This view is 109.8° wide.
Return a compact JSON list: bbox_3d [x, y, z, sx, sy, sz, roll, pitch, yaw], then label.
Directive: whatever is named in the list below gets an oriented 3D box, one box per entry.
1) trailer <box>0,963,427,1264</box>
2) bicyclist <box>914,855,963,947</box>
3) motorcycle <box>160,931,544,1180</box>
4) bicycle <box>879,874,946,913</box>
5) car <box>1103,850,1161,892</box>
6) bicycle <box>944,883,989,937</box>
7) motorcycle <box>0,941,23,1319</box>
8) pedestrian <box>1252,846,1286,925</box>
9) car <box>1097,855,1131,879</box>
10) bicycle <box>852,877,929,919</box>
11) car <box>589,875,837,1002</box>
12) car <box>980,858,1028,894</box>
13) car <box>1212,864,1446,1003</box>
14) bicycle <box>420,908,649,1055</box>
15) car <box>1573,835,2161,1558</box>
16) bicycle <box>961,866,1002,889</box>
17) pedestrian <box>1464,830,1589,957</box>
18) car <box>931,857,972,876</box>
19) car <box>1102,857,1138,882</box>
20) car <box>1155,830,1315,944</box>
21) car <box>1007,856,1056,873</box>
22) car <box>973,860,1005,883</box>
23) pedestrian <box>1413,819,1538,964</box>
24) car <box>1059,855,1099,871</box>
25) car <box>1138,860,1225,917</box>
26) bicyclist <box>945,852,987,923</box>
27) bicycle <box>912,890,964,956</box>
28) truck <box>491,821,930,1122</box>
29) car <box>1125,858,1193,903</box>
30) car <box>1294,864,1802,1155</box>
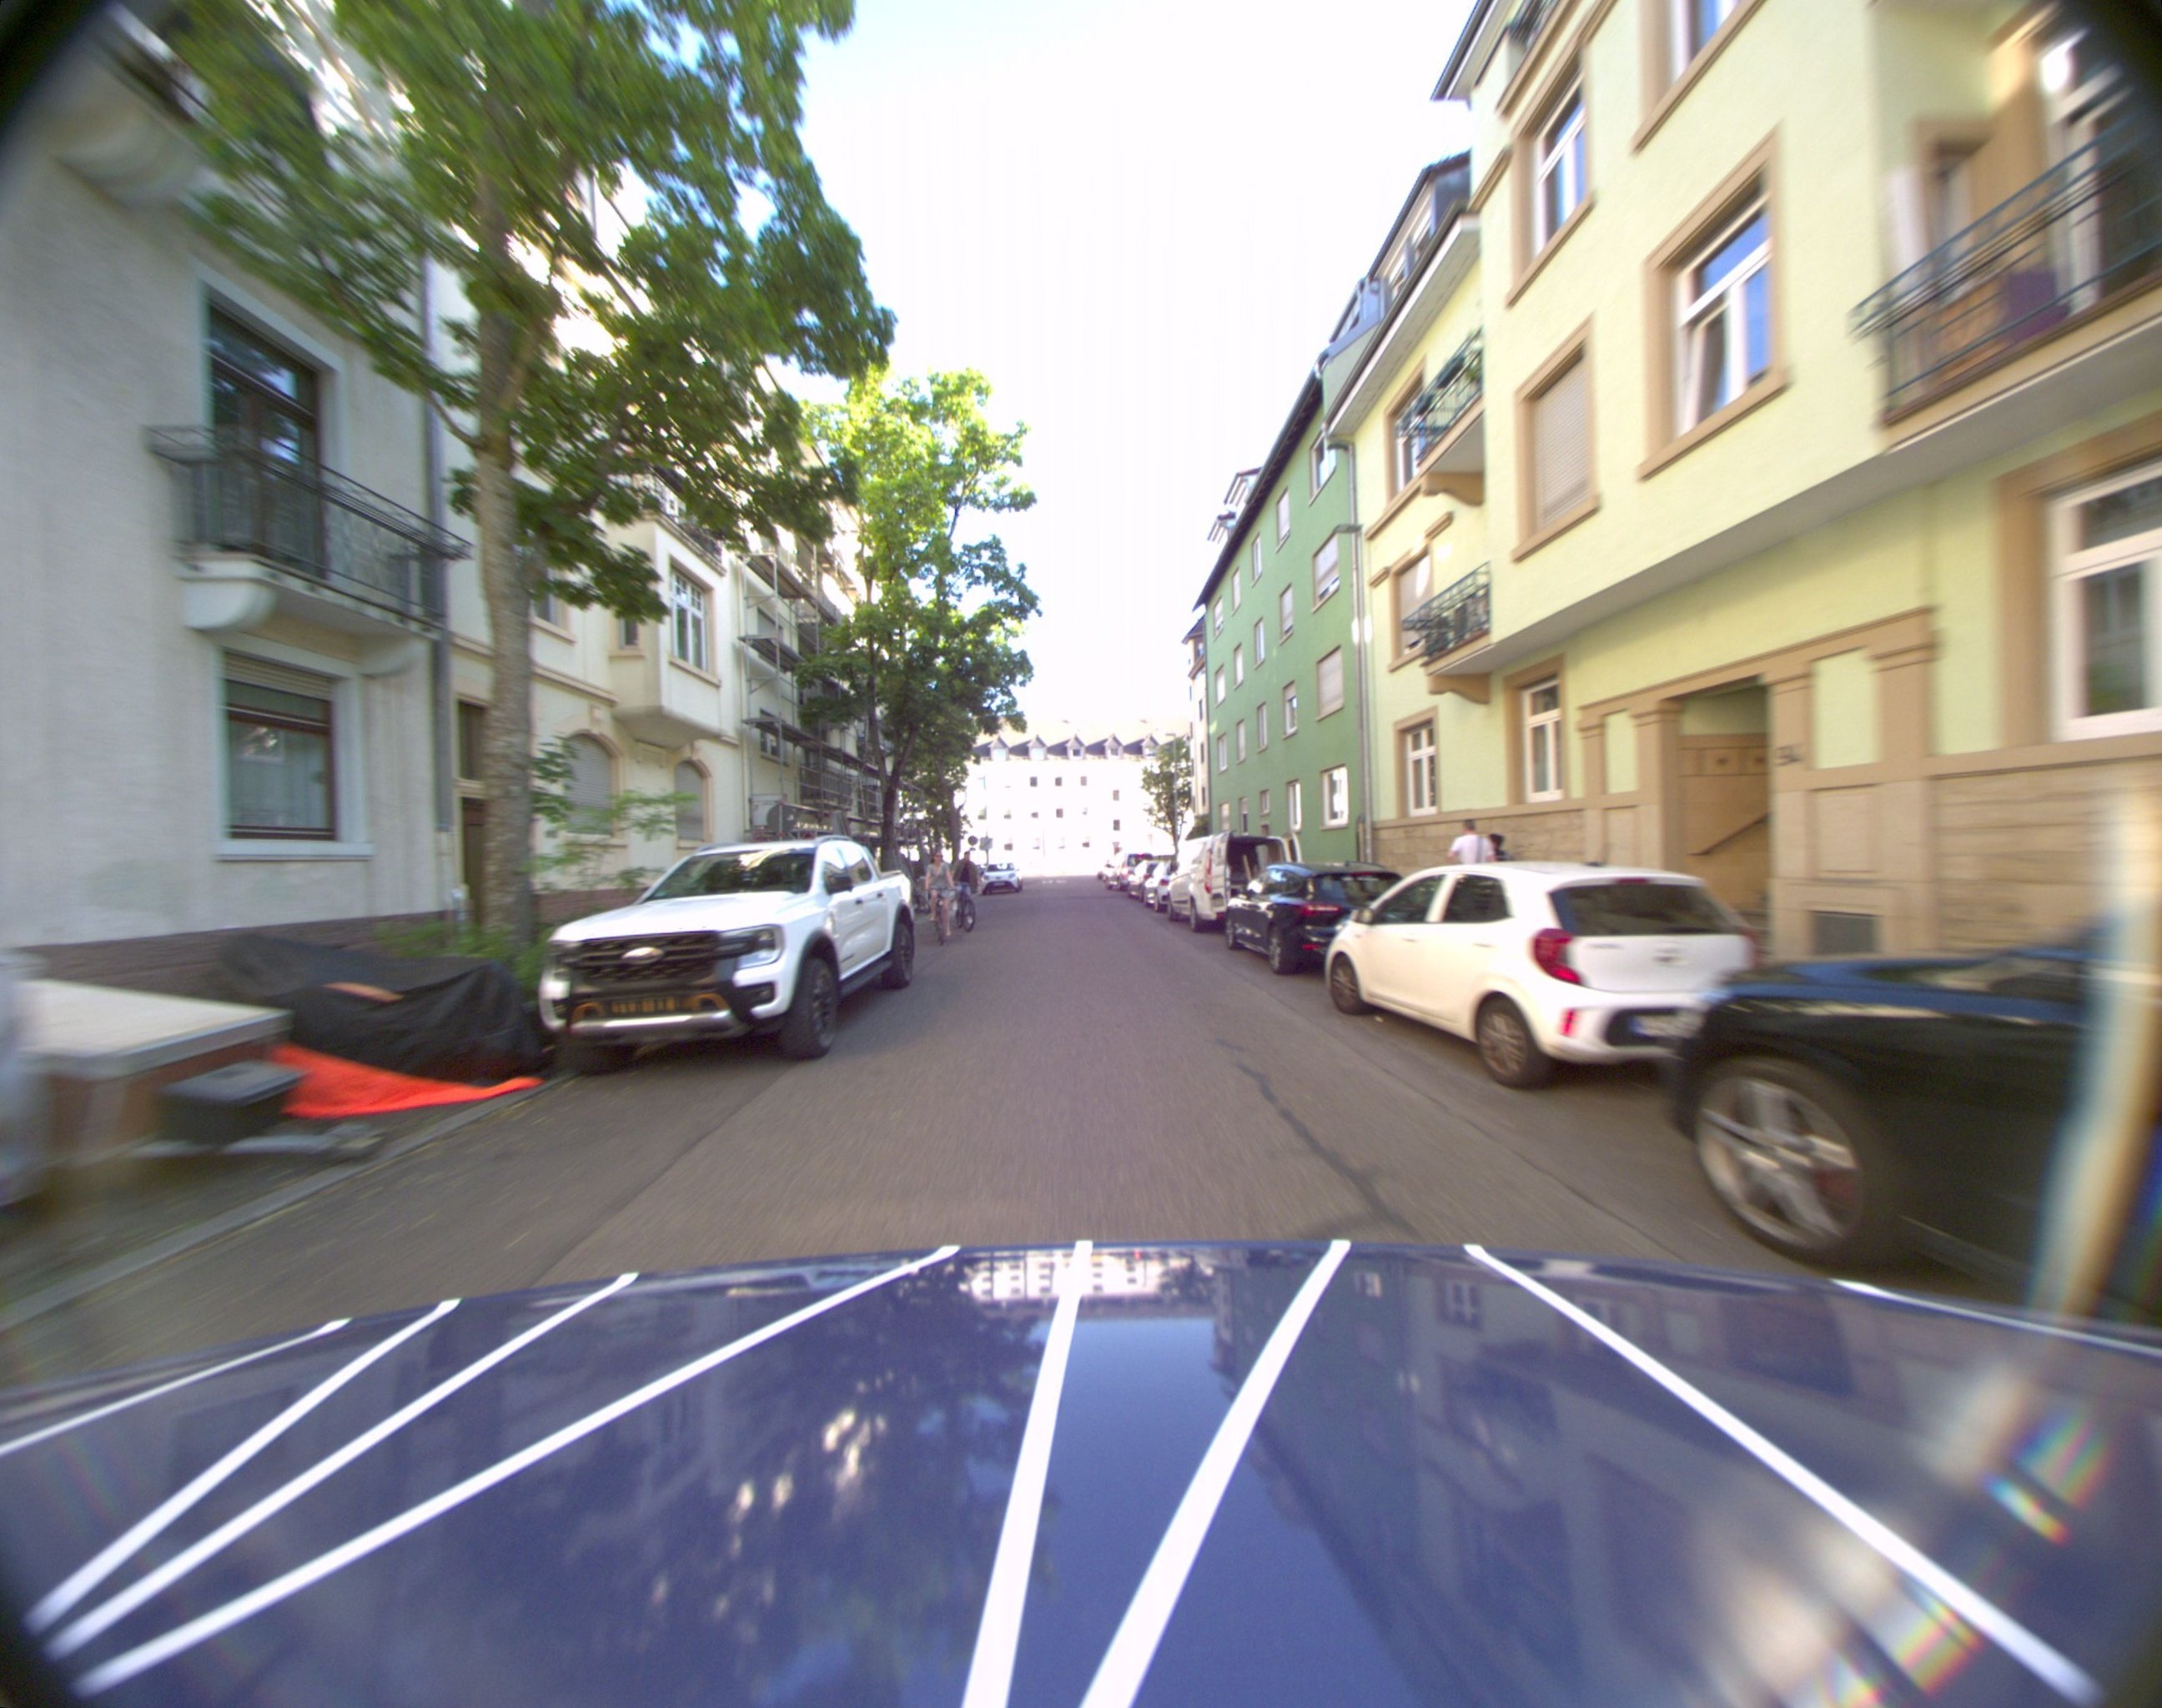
[{"bbox_3d":[-4.928,1.257,3.879,2.088,1.106,1.114,-2,0,-15],"label":"trailer"},{"bbox_3d":[-2.758,0.880,14.800,0.716,1.679,0.981,-4,1,-5],"label":"bicyclist"},{"bbox_3d":[-4.845,1.252,5.233,1.768,1.233,0.700,-2,1,-40],"label":"motorcycle"},{"bbox_3d":[-5.172,1.218,23.273,1.924,1.115,0.749,-2,0,28],"label":"bicycle"},{"bbox_3d":[2.325,0.753,35.650,1.777,1.832,4.412,0,1,-9],"label":"car"},{"bbox_3d":[-2.618,1.268,17.573,0.741,1.054,1.857,-3,1,-1],"label":"bicycle"},{"bbox_3d":[-4.732,1.106,1.963,0.932,1.477,2.138,-2,0,0],"label":"motorcycle"},{"bbox_3d":[4.377,0.725,17.728,0.487,1.777,0.845,-2,1,-1],"label":"pedestrian"},{"bbox_3d":[2.230,0.854,52.148,1.724,1.546,4.071,0,0,-7],"label":"car"},{"bbox_3d":[-5.461,1.254,21.816,1.980,1.115,0.748,-2,0,9],"label":"bicycle"},{"bbox_3d":[-5.191,1.088,11.465,1.684,1.414,4.429,0,0,-2],"label":"car"},{"bbox_3d":[-3.664,1.020,36.733,1.807,1.526,3.964,-3,0,0],"label":"car"},{"bbox_3d":[3.270,0.940,11.145,1.771,1.512,4.824,-1,0,-1],"label":"car"},{"bbox_3d":[-5.367,1.236,7.532,1.764,1.297,0.586,-2,1,-3],"label":"bicycle"},{"bbox_3d":[3.466,0.800,1.319,1.880,1.675,4.968,0,0,-2],"label":"car"},{"bbox_3d":[-5.186,1.208,39.572,1.974,1.148,0.750,2,0,-16],"label":"bicycle"},{"bbox_3d":[6.337,0.534,10.895,0.995,1.665,1.243,-3,1,-2],"label":"pedestrian"},{"bbox_3d":[-12.166,1.159,71.587,3.707,1.598,1.648,-3,0,-9],"label":"car"},{"bbox_3d":[2.346,0.906,46.797,1.771,1.444,4.206,1,0,-2],"label":"car"},{"bbox_3d":[3.221,0.632,17.193,2.258,2.156,5.241,1,0,-3],"label":"car"},{"bbox_3d":[-4.741,0.982,72.752,4.494,1.498,1.944,-2,0,-8],"label":"car"},{"bbox_3d":[-5.991,1.100,49.824,1.666,1.399,4.506,1,0,-2],"label":"car"},{"bbox_3d":[5.401,0.484,10.495,0.995,1.850,1.243,-3,1,-2],"label":"pedestrian"},{"bbox_3d":[-0.216,0.854,73.465,3.614,1.440,1.553,-2,1,-9],"label":"car"},{"bbox_3d":[2.889,0.961,22.828,1.838,1.454,4.362,1,0,-2],"label":"car"},{"bbox_3d":[-2.634,0.747,17.505,0.757,1.556,0.981,-3,1,0],"label":"bicyclist"},{"bbox_3d":[-2.751,1.293,14.754,0.708,1.039,1.857,-5,1,-5],"label":"bicycle"},{"bbox_3d":[-3.018,0.781,7.845,1.833,1.937,5.540,-2,0,-1],"label":"truck"},{"bbox_3d":[2.759,0.922,27.850,1.725,1.454,4.505,1,0,-4],"label":"car"},{"bbox_3d":[3.250,0.912,6.387,1.639,1.543,4.087,-1,1,-2],"label":"car"}]
